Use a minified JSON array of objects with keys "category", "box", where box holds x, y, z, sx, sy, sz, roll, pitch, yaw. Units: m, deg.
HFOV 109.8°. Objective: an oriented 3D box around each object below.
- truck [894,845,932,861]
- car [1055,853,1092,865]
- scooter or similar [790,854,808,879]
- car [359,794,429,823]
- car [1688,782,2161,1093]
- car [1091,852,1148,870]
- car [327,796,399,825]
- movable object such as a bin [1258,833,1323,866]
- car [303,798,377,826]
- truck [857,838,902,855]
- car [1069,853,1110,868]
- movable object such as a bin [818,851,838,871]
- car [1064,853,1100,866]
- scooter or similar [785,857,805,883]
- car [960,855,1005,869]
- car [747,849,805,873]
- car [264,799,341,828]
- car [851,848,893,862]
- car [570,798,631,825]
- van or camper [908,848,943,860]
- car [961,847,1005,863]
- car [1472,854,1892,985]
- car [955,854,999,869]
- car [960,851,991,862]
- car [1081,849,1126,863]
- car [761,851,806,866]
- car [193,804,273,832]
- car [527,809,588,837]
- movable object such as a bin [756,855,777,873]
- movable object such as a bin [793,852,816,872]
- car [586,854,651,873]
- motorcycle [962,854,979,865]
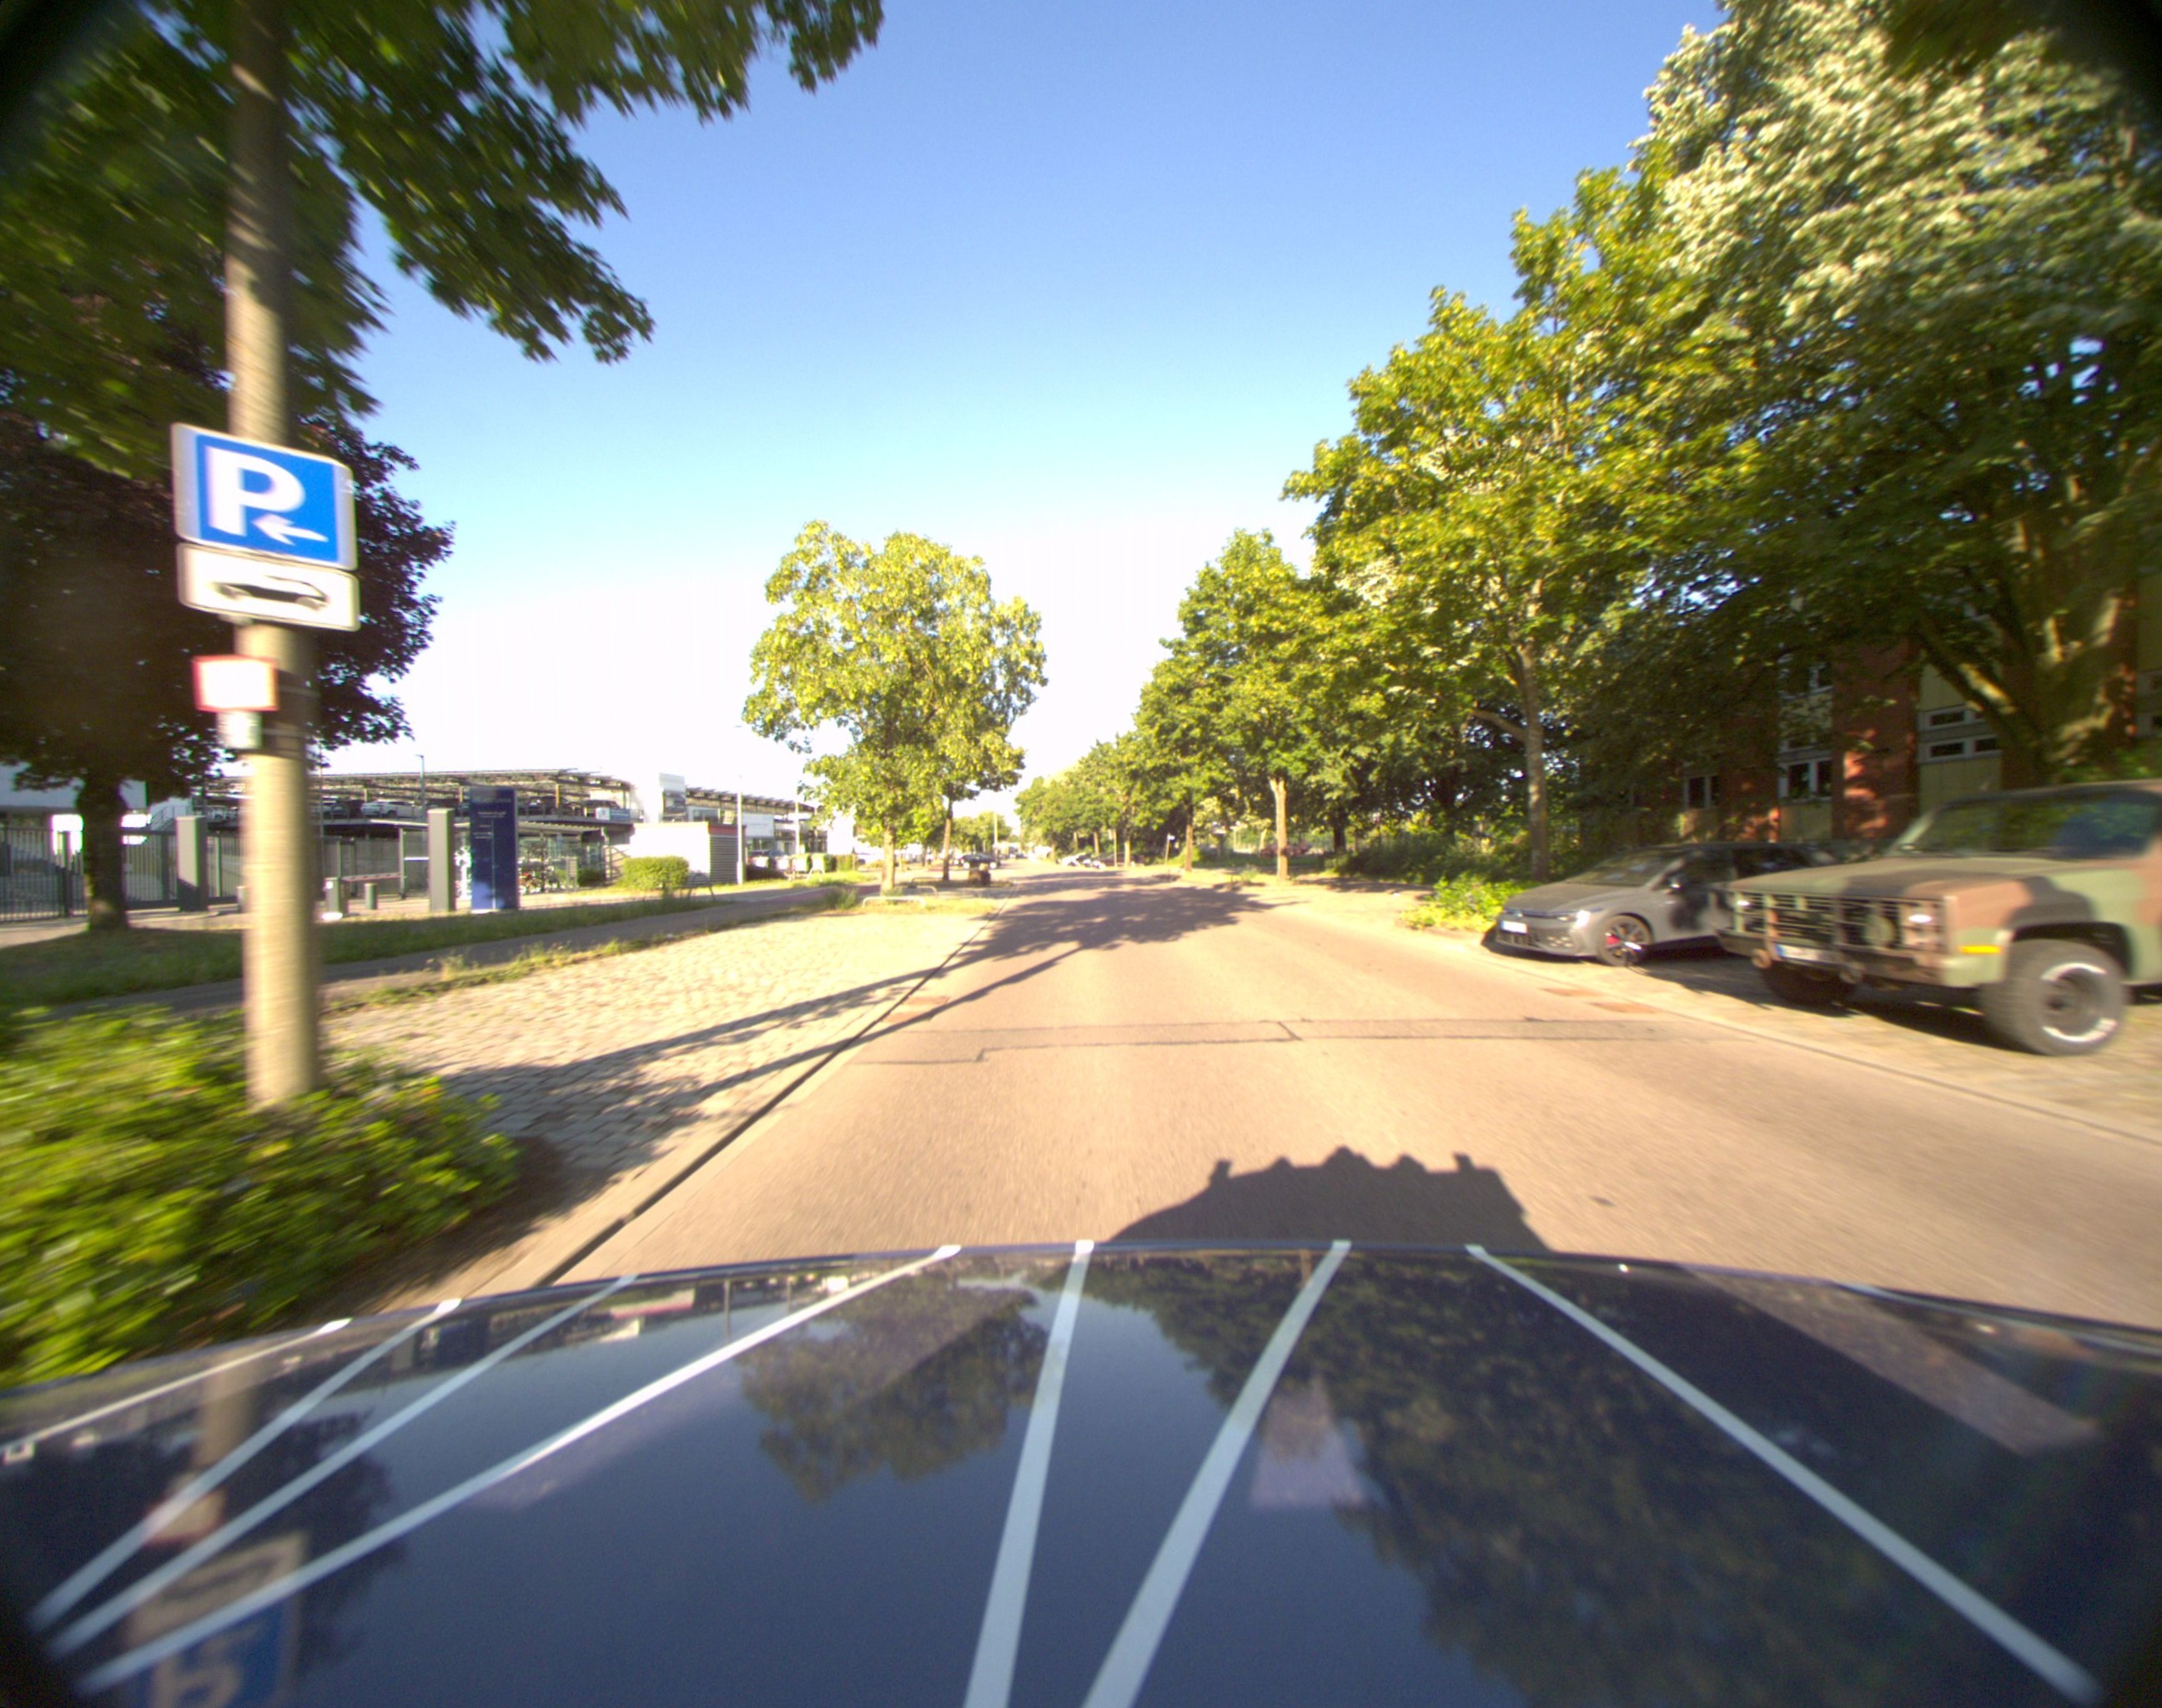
[{"category":"truck","box":[-37.856,-0.235,171.110,8.232,3.501,3.121,0,0,27]},{"category":"car","box":[-0.971,0.721,101.634,4.665,1.413,1.915,-2,1,-11]},{"category":"scooter or similar","box":[-14.483,0.650,39.055,0.521,1.264,1.200,-1,0,-3]},{"category":"car","box":[-58.476,-3.823,64.777,1.998,2.089,4.202,-3,0,3]},{"category":"car","box":[8.243,0.496,6.055,5.017,2.008,2.174,-2,0,1]},{"category":"car","box":[3.595,0.601,71.149,5.051,1.453,1.998,-2,1,-9]},{"category":"car","box":[-61.308,-3.682,64.968,1.998,2.089,4.202,-3,0,3]},{"category":"movable object such as a bin","box":[17.371,-0.358,63.191,2.169,2.649,4.790,-1,0,-44]},{"category":"car","box":[-63.563,-3.569,65.249,1.998,2.089,4.202,-3,0,3]},{"category":"truck","box":[-46.224,-1.670,174.072,10.093,3.623,3.301,0,1,26]},{"category":"car","box":[1.001,0.708,88.436,4.494,1.522,1.998,-2,1,-9]},{"category":"movable object such as a bin","box":[-18.229,0.480,54.699,0.846,1.408,1.039,-2,0,24]},{"category":"car","box":[0.113,0.672,94.702,4.300,1.522,1.998,-2,1,-8]},{"category":"scooter or similar","box":[-14.142,0.798,37.624,0.521,1.264,1.387,0,0,-3]},{"category":"car","box":[-10.154,0.799,78.237,4.496,1.396,2.032,-1,0,-9]},{"category":"car","box":[-23.915,0.520,59.776,2.035,1.817,4.979,0,0,7]},{"category":"car","box":[-66.476,-3.427,64.988,1.998,2.089,4.202,-3,0,3]},{"category":"car","box":[-27.264,0.127,99.047,4.739,1.680,2.404,1,0,-36]},{"category":"car","box":[-43.254,-3.769,68.432,4.197,2.089,2.001,-3,0,3]},{"category":"van or camper","box":[-37.261,-0.026,181.997,7.992,2.883,2.947,0,0,22]},{"category":"car","box":[-10.807,0.124,84.034,4.708,1.741,2.190,-1,0,-5]},{"category":"car","box":[7.660,0.777,9.962,4.223,1.521,1.705,-1,0,-2]},{"category":"car","box":[-11.012,0.825,80.578,4.495,1.541,2.032,0,0,-7]},{"category":"car","box":[-16.331,0.412,117.155,4.607,1.575,1.998,1,0,-12]},{"category":"car","box":[2.398,0.223,80.963,4.494,1.453,1.998,-1,1,-9]},{"category":"car","box":[-34.809,0.492,89.020,4.796,1.763,1.996,0,0,-25]},{"category":"car","box":[-73.014,-3.100,65.491,1.998,2.089,4.202,-3,0,3]},{"category":"car","box":[-43.886,-2.537,63.820,1.998,2.089,4.202,-3,0,3]},{"category":"movable object such as a bin","box":[-22.887,0.718,55.338,1.120,1.260,1.038,-1,0,-2]},{"category":"movable object such as a bin","box":[-19.961,0.565,54.870,1.214,1.475,1.038,-1,0,-2]},{"category":"car","box":[-36.944,0.754,60.808,2.035,1.423,4.563,0,0,7]},{"category":"motorcycle","box":[-15.367,0.748,105.391,2.133,1.457,0.948,0,0,-25]}]
